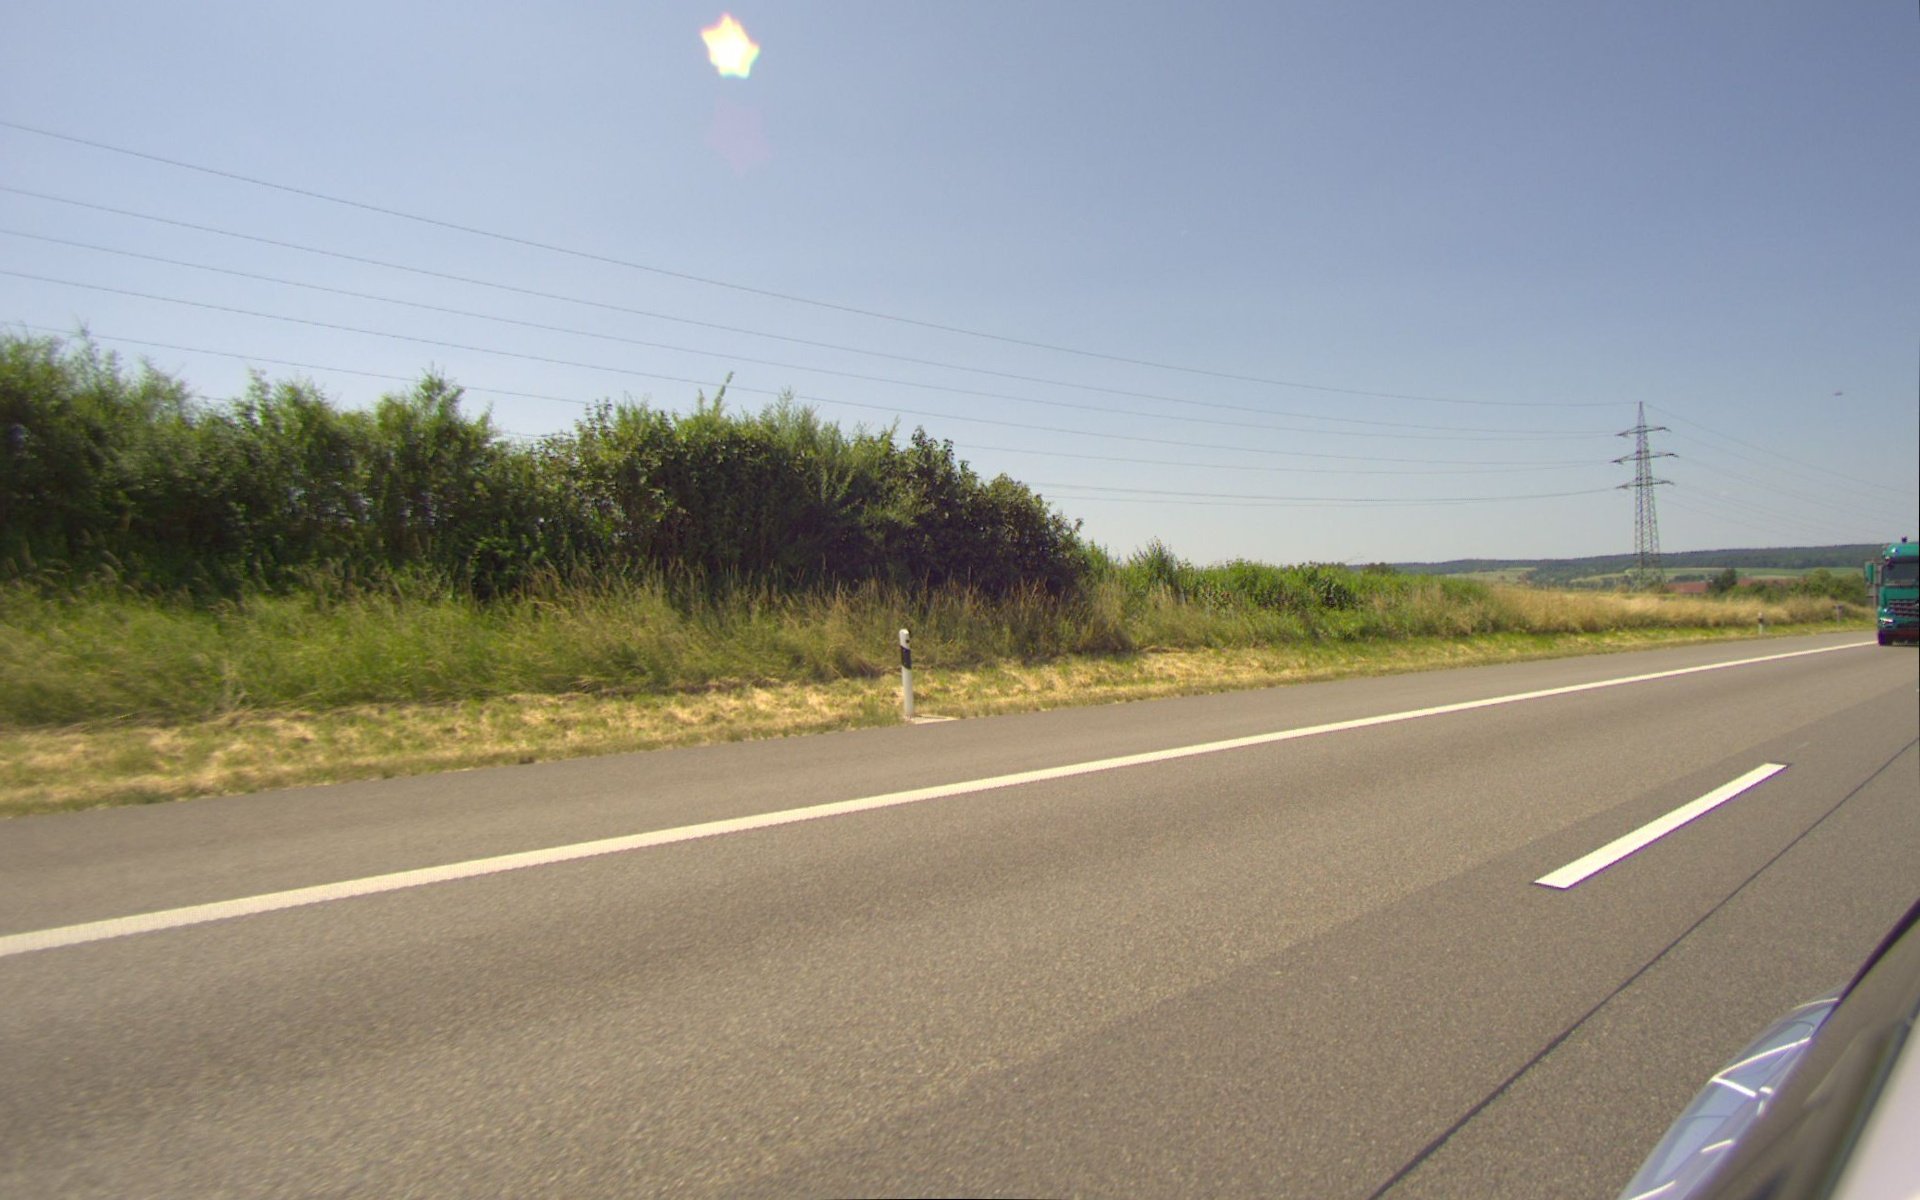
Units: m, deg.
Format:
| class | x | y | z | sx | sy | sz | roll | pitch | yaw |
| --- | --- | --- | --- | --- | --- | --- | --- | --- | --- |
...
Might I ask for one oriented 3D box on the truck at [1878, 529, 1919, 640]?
| class | x | y | z | sx | sy | sz | roll | pitch | yaw |
| --- | --- | --- | --- | --- | --- | --- | --- | --- | --- |
| truck | 37.699 | -0.519 | 38.289 | 12.538 | 3.771 | 2.870 | 0 | 0 | -41 |
